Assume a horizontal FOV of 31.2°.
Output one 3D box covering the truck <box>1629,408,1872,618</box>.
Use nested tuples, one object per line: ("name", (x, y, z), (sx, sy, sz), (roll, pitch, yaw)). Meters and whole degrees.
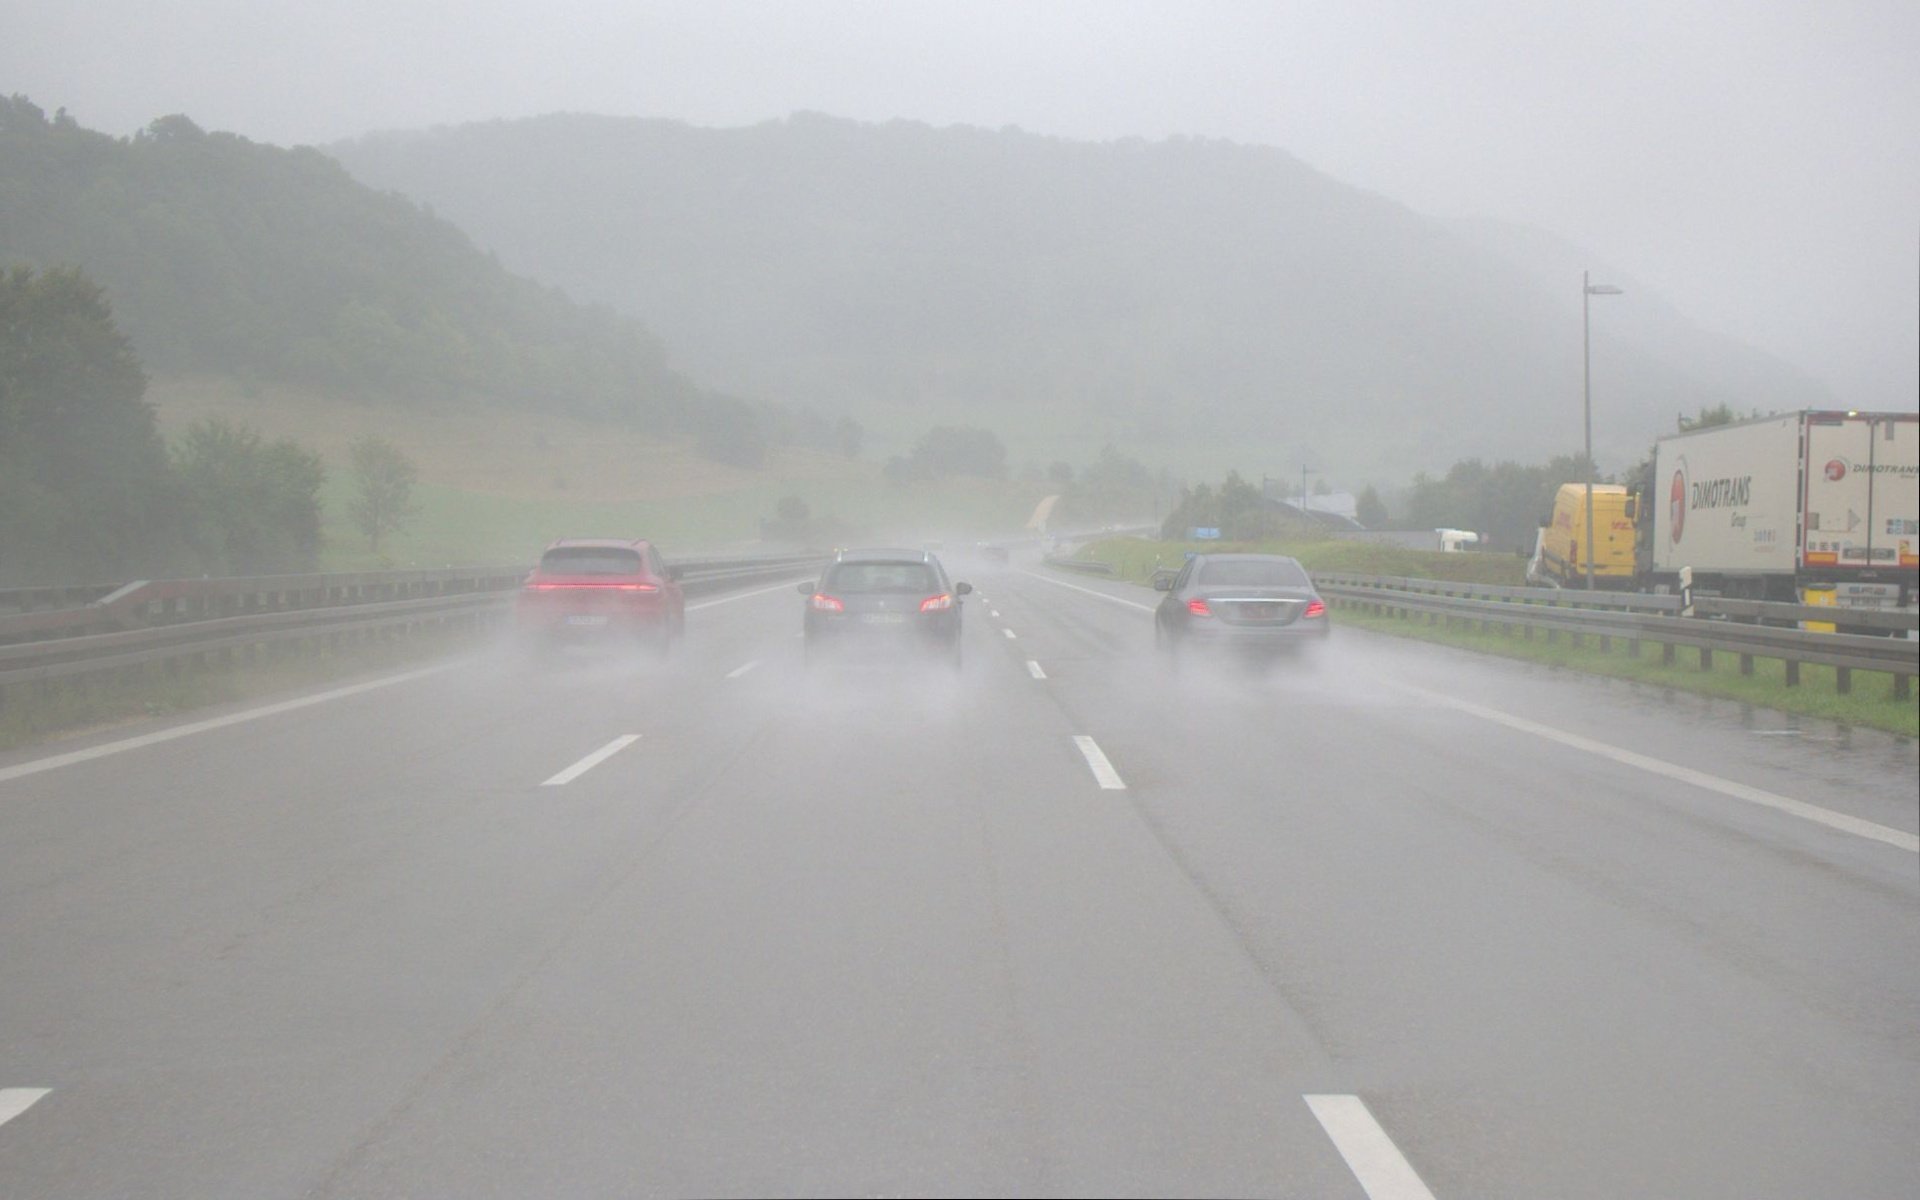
("truck", (16.805, -1.811, 73.683), (3.527, 4.205, 7.816), (1, 1, 2))

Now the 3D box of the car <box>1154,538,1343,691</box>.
("car", (3.444, 0.137, 41.647), (1.971, 1.754, 4.000), (0, 1, 0))

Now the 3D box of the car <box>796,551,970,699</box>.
("car", (-0.835, 0.246, 39.483), (1.859, 1.584, 4.000), (1, 1, 0))

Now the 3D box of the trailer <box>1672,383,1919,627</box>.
("trailer", (16.680, -1.730, 66.381), (3.516, 4.247, 11.920), (1, 1, 1))

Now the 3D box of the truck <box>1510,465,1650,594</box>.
("truck", (16.040, -1.792, 89.454), (2.291, 3.136, 8.863), (1, 1, 2))

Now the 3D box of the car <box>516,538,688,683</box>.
("car", (-4.674, 0.095, 45.357), (1.884, 1.809, 4.000), (0, 1, -1))
